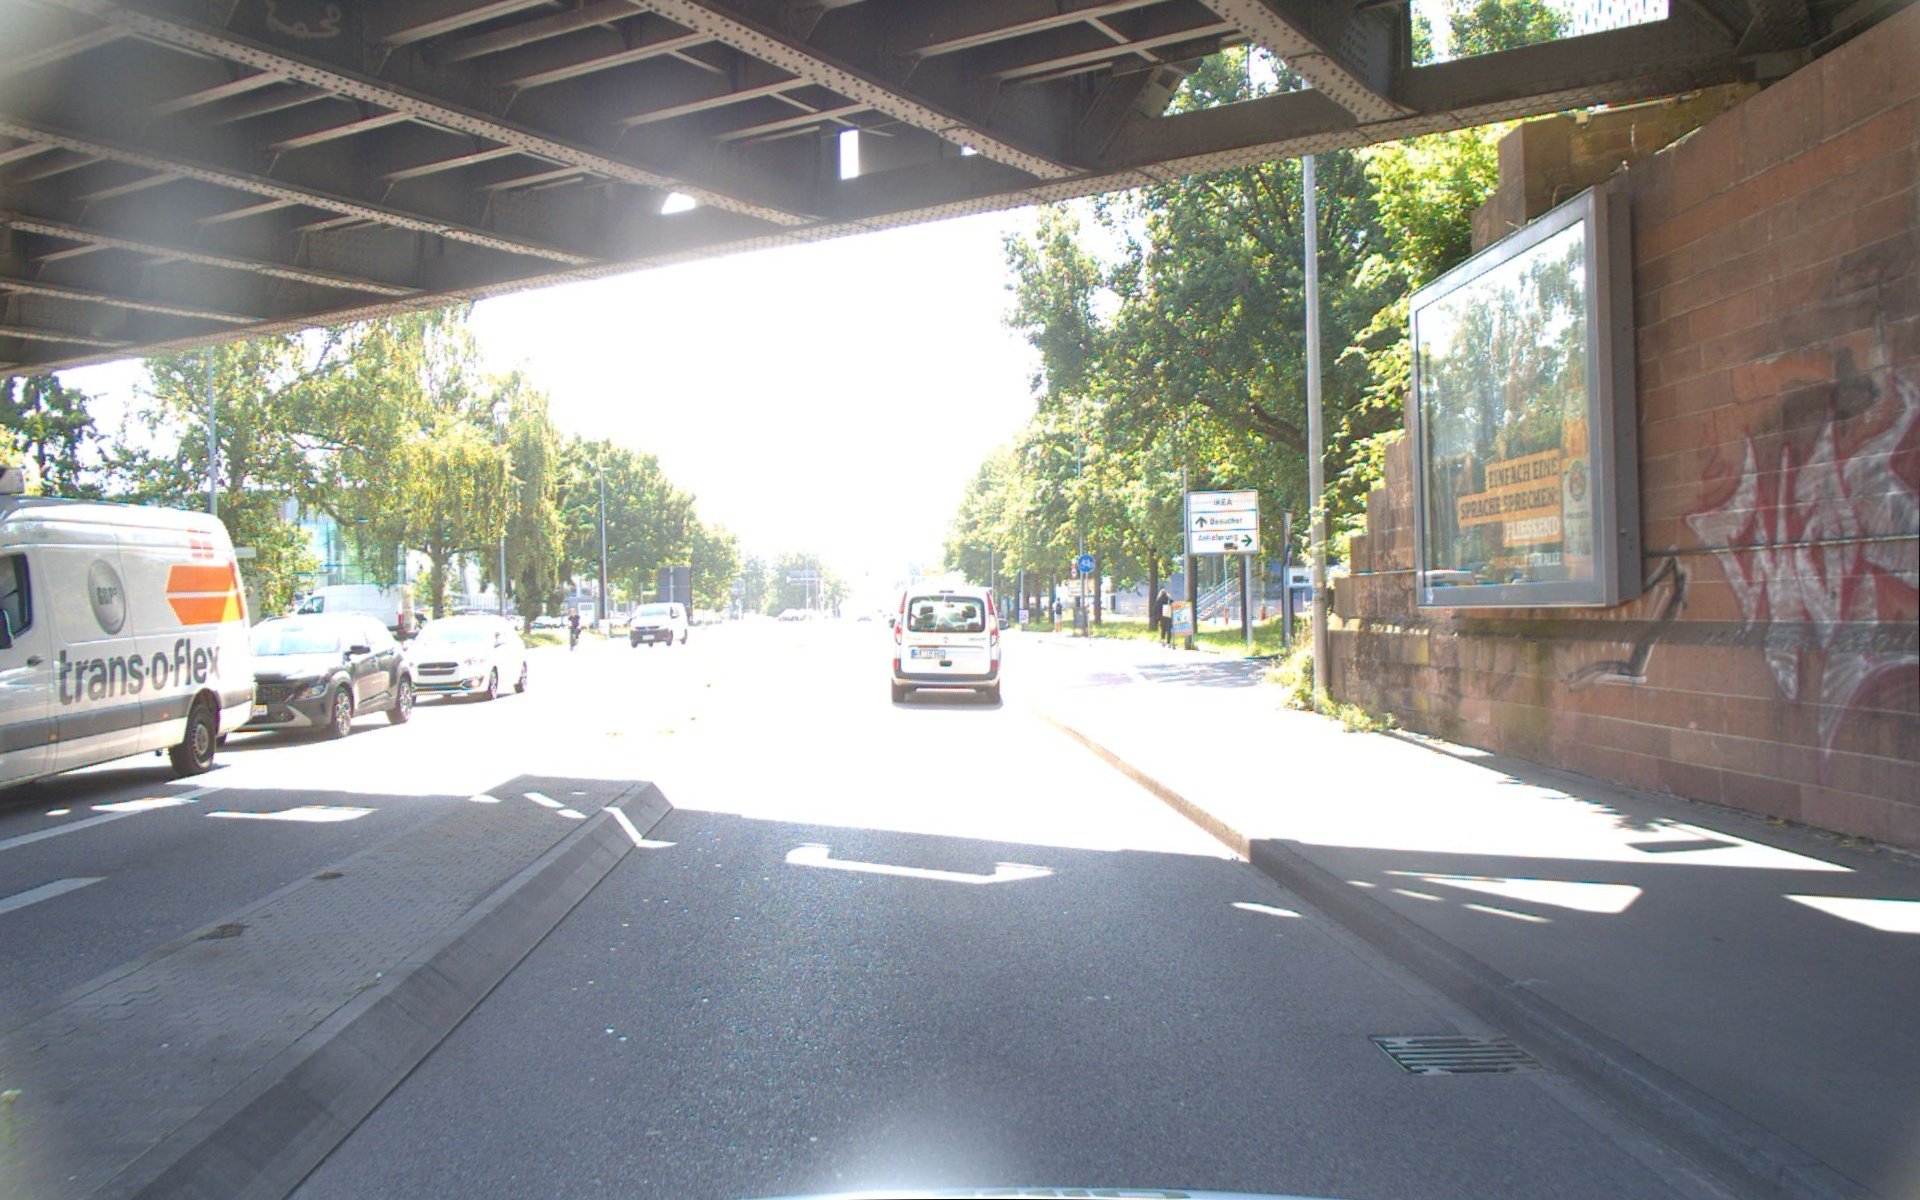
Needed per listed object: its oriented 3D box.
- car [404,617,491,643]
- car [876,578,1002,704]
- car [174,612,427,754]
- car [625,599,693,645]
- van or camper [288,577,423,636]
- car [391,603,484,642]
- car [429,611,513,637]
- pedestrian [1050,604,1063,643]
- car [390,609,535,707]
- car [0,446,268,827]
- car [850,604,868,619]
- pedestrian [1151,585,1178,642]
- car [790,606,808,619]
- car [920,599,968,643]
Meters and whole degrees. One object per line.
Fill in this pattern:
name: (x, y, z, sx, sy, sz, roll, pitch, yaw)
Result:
car: (-28.345, 1.644, 91.587, 4.179, 1.351, 1.953, -1, 0, -1)
car: (-0.378, 0.630, 27.030, 1.867, 1.861, 4.178, -1, 0, -2)
car: (-8.562, 1.009, 21.890, 1.733, 1.520, 4.176, -3, 1, -2)
car: (-14.082, 0.989, 77.684, 1.952, 2.049, 5.348, -2, 0, 2)
van or camper: (-27.098, 0.283, 74.263, 5.273, 2.514, 1.998, 1, 1, -5)
car: (-27.199, 1.160, 86.200, 4.179, 1.917, 1.953, -1, 0, -1)
car: (-27.901, 1.354, 94.495, 4.179, 1.405, 1.953, -1, 0, -1)
pedestrian: (4.620, 1.116, 79.249, 0.524, 1.874, 0.727, -1, -1, -2)
car: (-9.007, 1.008, 30.234, 1.610, 1.520, 3.826, -3, 1, -3)
car: (-8.320, 0.325, 14.443, 1.955, 2.854, 6.931, -3, 0, -4)
car: (-12.087, 1.350, 197.529, 1.953, 1.713, 3.998, -1, 0, -2)
pedestrian: (5.912, 0.387, 47.817, 0.634, 1.631, 0.846, -1, -1, -2)
car: (-20.275, 1.587, 208.514, 1.804, 1.489, 4.997, -3, 0, -2)
car: (-0.604, 0.820, 65.933, 1.770, 1.668, 4.459, -2, 0, 1)
